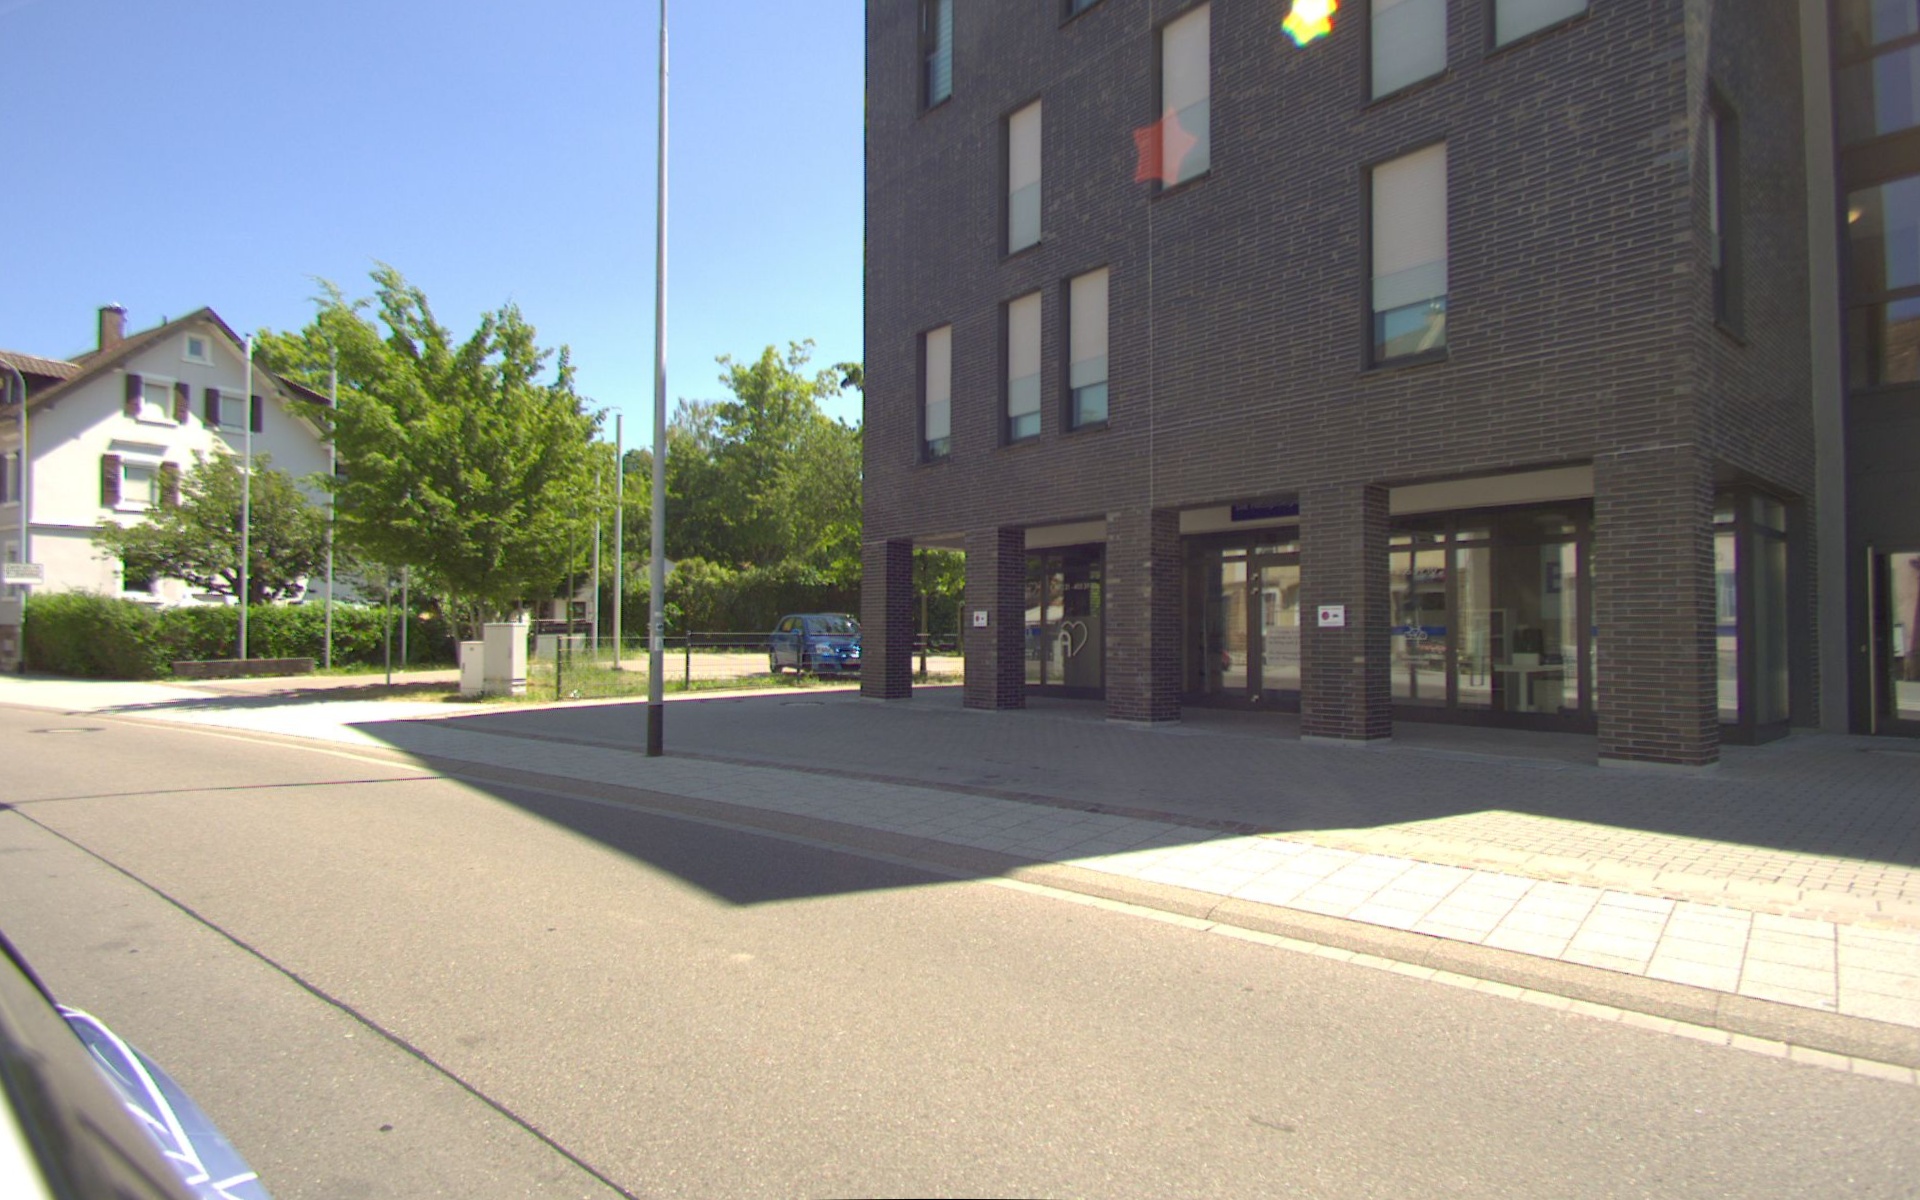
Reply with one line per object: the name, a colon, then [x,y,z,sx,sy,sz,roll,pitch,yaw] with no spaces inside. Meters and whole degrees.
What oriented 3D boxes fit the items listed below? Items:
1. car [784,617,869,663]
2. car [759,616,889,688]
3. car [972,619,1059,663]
car: [-4.721,1.356,35.332,1.662,1.503,3.779,0,-2,-29]
car: [-3.231,1.137,23.367,1.670,1.497,4.093,0,-2,-28]
car: [1.999,1.484,37.337,1.662,1.503,3.779,0,-2,-24]
